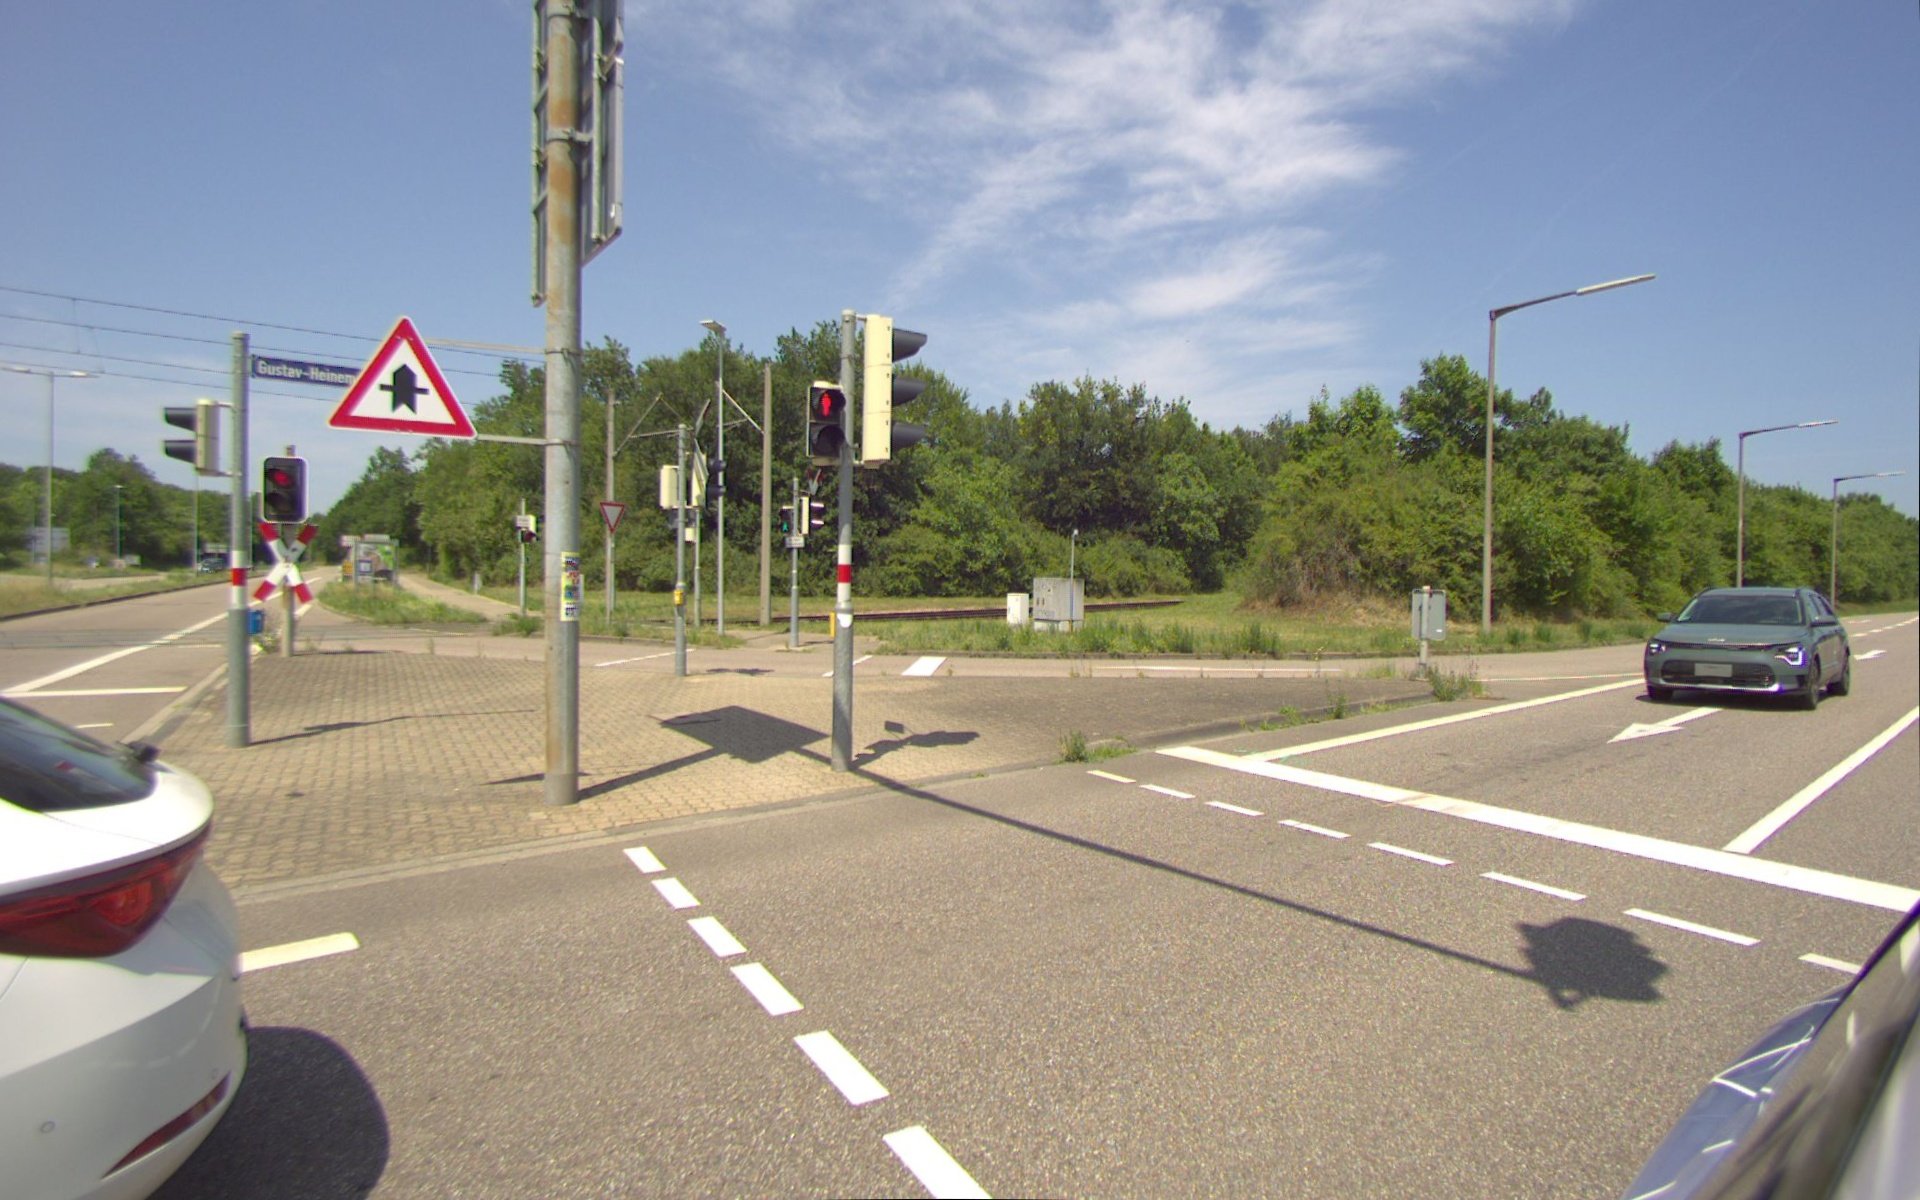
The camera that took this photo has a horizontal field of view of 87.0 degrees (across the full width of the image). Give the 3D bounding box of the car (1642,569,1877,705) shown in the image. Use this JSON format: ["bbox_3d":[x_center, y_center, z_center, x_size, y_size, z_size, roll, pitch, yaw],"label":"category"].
[{"bbox_3d":[11.178,0.416,14.063,3.928,1.616,1.723,0,2,-39],"label":"car"}]

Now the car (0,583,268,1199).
[{"bbox_3d":[-3.462,0.688,1.031,4.375,1.407,1.684,-1,1,-43],"label":"car"}]
